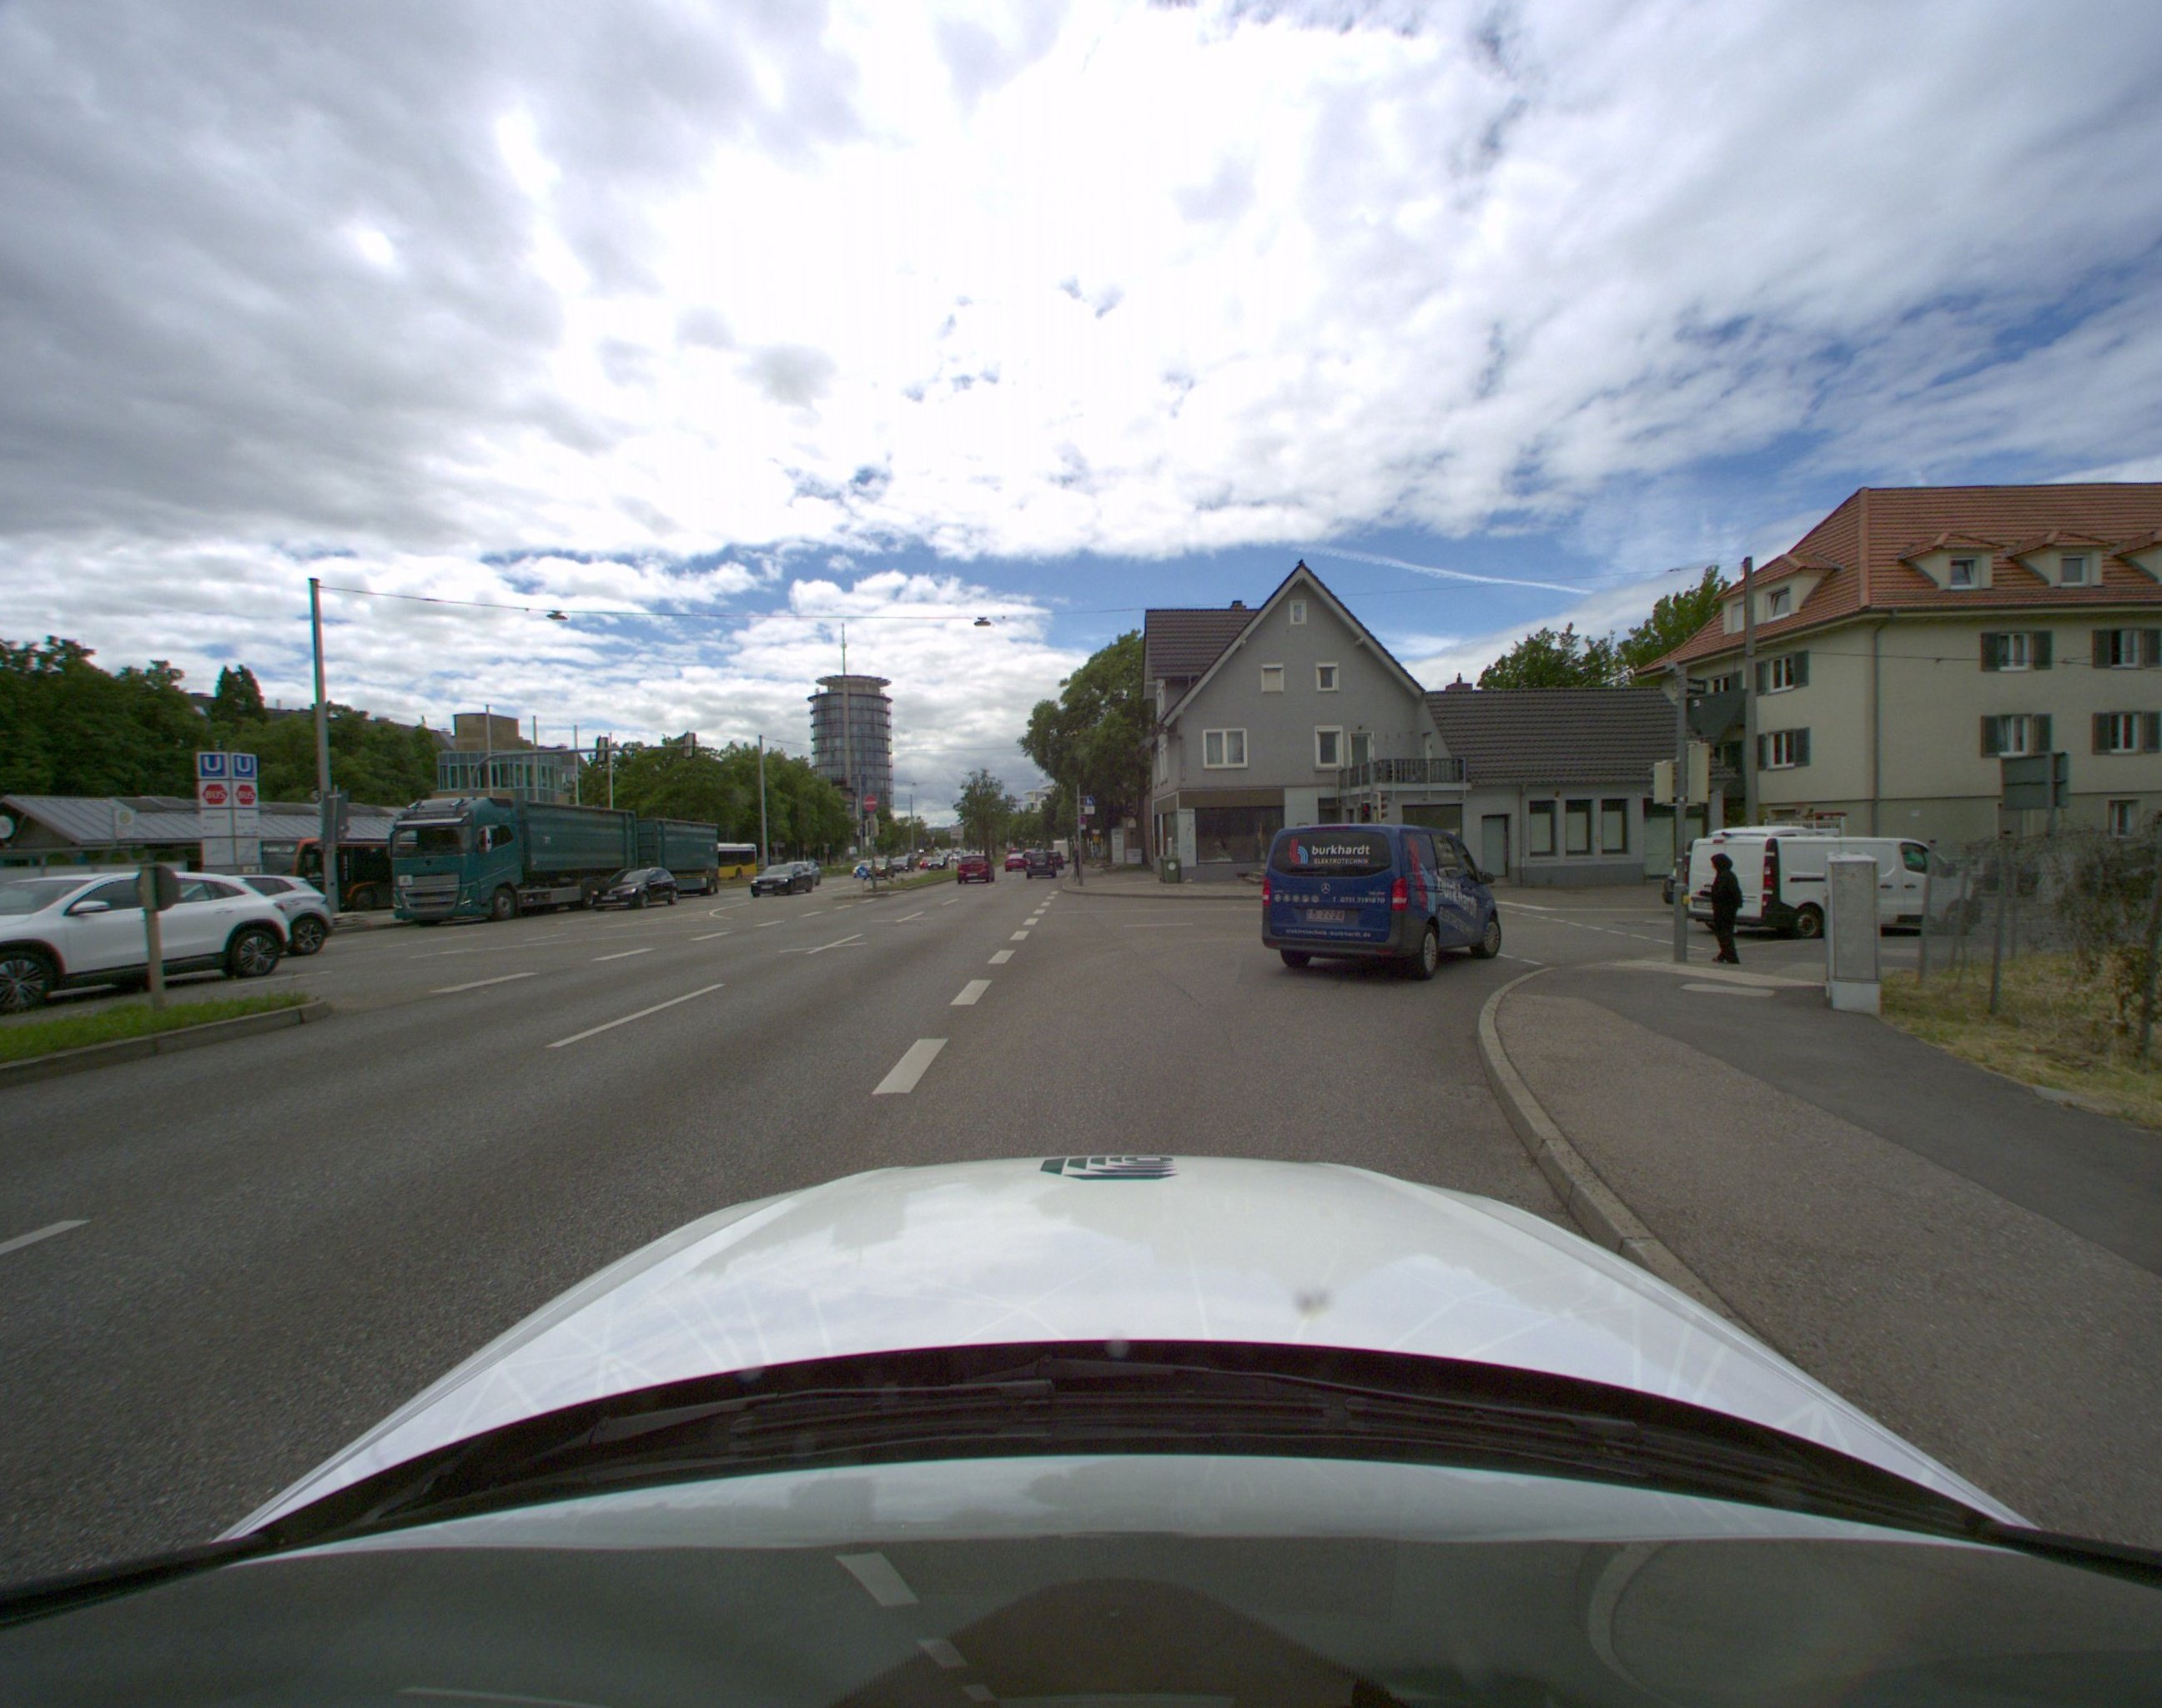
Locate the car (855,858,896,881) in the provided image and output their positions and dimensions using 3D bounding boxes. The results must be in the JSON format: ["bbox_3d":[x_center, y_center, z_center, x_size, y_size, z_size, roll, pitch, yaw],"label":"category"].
[{"bbox_3d":[-14.639,1.073,58.240,1.989,1.516,3.996,-2,0,-3],"label":"car"}]

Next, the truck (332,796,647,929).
[{"bbox_3d":[-19.726,0.269,28.687,3.361,3.727,11.266,-1,0,-3],"label":"truck"}]

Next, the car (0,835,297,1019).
[{"bbox_3d":[-12.906,0.845,10.281,1.988,2.013,4.176,-2,0,-2],"label":"car"}]

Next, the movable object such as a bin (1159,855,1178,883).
[{"bbox_3d":[3.419,0.585,31.960,0.596,1.101,0.572,-2,0,-8],"label":"movable object such as a bin"}]

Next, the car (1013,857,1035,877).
[{"bbox_3d":[-5.964,1.326,84.338,1.993,2.013,3.989,0,1,-8],"label":"car"}]

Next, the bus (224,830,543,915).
[{"bbox_3d":[-29.943,0.726,36.335,2.943,3.133,12.176,-1,0,5],"label":"bus"}]

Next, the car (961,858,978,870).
[{"bbox_3d":[-15.795,1.440,115.378,1.989,1.574,3.996,-2,0,-3],"label":"car"}]

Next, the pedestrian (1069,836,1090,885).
[{"bbox_3d":[-0.057,0.263,34.177,0.768,2.013,0.878,-2,0,5],"label":"pedestrian"}]

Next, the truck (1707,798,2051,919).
[{"bbox_3d":[18.909,0.112,19.513,6.366,2.701,1.999,1,-1,-1],"label":"truck"}]

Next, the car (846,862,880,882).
[{"bbox_3d":[-18.835,1.514,70.551,1.988,1.574,3.997,-2,0,-2],"label":"car"}]

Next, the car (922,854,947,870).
[{"bbox_3d":[-15.678,0.818,87.445,1.988,1.574,3.997,-2,0,-2],"label":"car"}]

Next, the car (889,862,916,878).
[{"bbox_3d":[-18.460,1.653,84.604,1.988,1.574,3.997,-2,0,-2],"label":"car"}]

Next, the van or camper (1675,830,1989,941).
[{"bbox_3d":[14.842,0.544,16.206,5.081,2.013,1.993,0,1,-11],"label":"van or camper"}]

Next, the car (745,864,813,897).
[{"bbox_3d":[-13.795,1.149,37.460,1.993,1.332,4.431,-2,0,-9],"label":"car"}]

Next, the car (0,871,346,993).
[{"bbox_3d":[-15.619,1.180,13.788,1.763,1.585,5.260,-4,0,-5],"label":"car"}]

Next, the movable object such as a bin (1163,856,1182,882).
[{"bbox_3d":[3.514,0.582,31.364,0.596,0.987,0.572,-2,0,-8],"label":"movable object such as a bin"}]

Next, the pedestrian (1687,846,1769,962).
[{"bbox_3d":[9.144,0.701,11.531,0.603,1.597,0.609,-1,-3,-2],"label":"pedestrian"}]

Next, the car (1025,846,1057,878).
[{"bbox_3d":[-2.312,0.436,47.612,1.742,1.723,3.996,-2,0,-3],"label":"car"}]

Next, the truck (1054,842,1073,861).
[{"bbox_3d":[-2.003,-0.279,92.931,1.987,2.166,5.559,0,0,1],"label":"truck"}]

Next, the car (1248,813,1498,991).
[{"bbox_3d":[4.261,0.532,11.371,1.929,1.965,4.570,-1,0,38],"label":"car"}]

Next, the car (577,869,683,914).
[{"bbox_3d":[-16.502,1.339,30.062,1.793,1.417,3.996,-2,0,-3],"label":"car"}]

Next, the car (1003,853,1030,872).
[{"bbox_3d":[-5.406,0.663,67.900,1.868,1.486,3.988,-2,0,-8],"label":"car"}]

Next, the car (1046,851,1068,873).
[{"bbox_3d":[-1.983,0.631,67.607,1.742,1.723,3.997,-2,0,-2],"label":"car"}]

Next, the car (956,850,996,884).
[{"bbox_3d":[-5.624,0.662,43.836,1.742,1.723,3.996,-2,0,-3],"label":"car"}]

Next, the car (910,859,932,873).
[{"bbox_3d":[-19.389,1.399,98.921,1.989,1.574,3.995,-2,0,-3],"label":"car"}]

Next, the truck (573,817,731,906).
[{"bbox_3d":[-20.314,0.349,39.310,3.359,3.727,8.022,-2,0,-1],"label":"truck"}]
